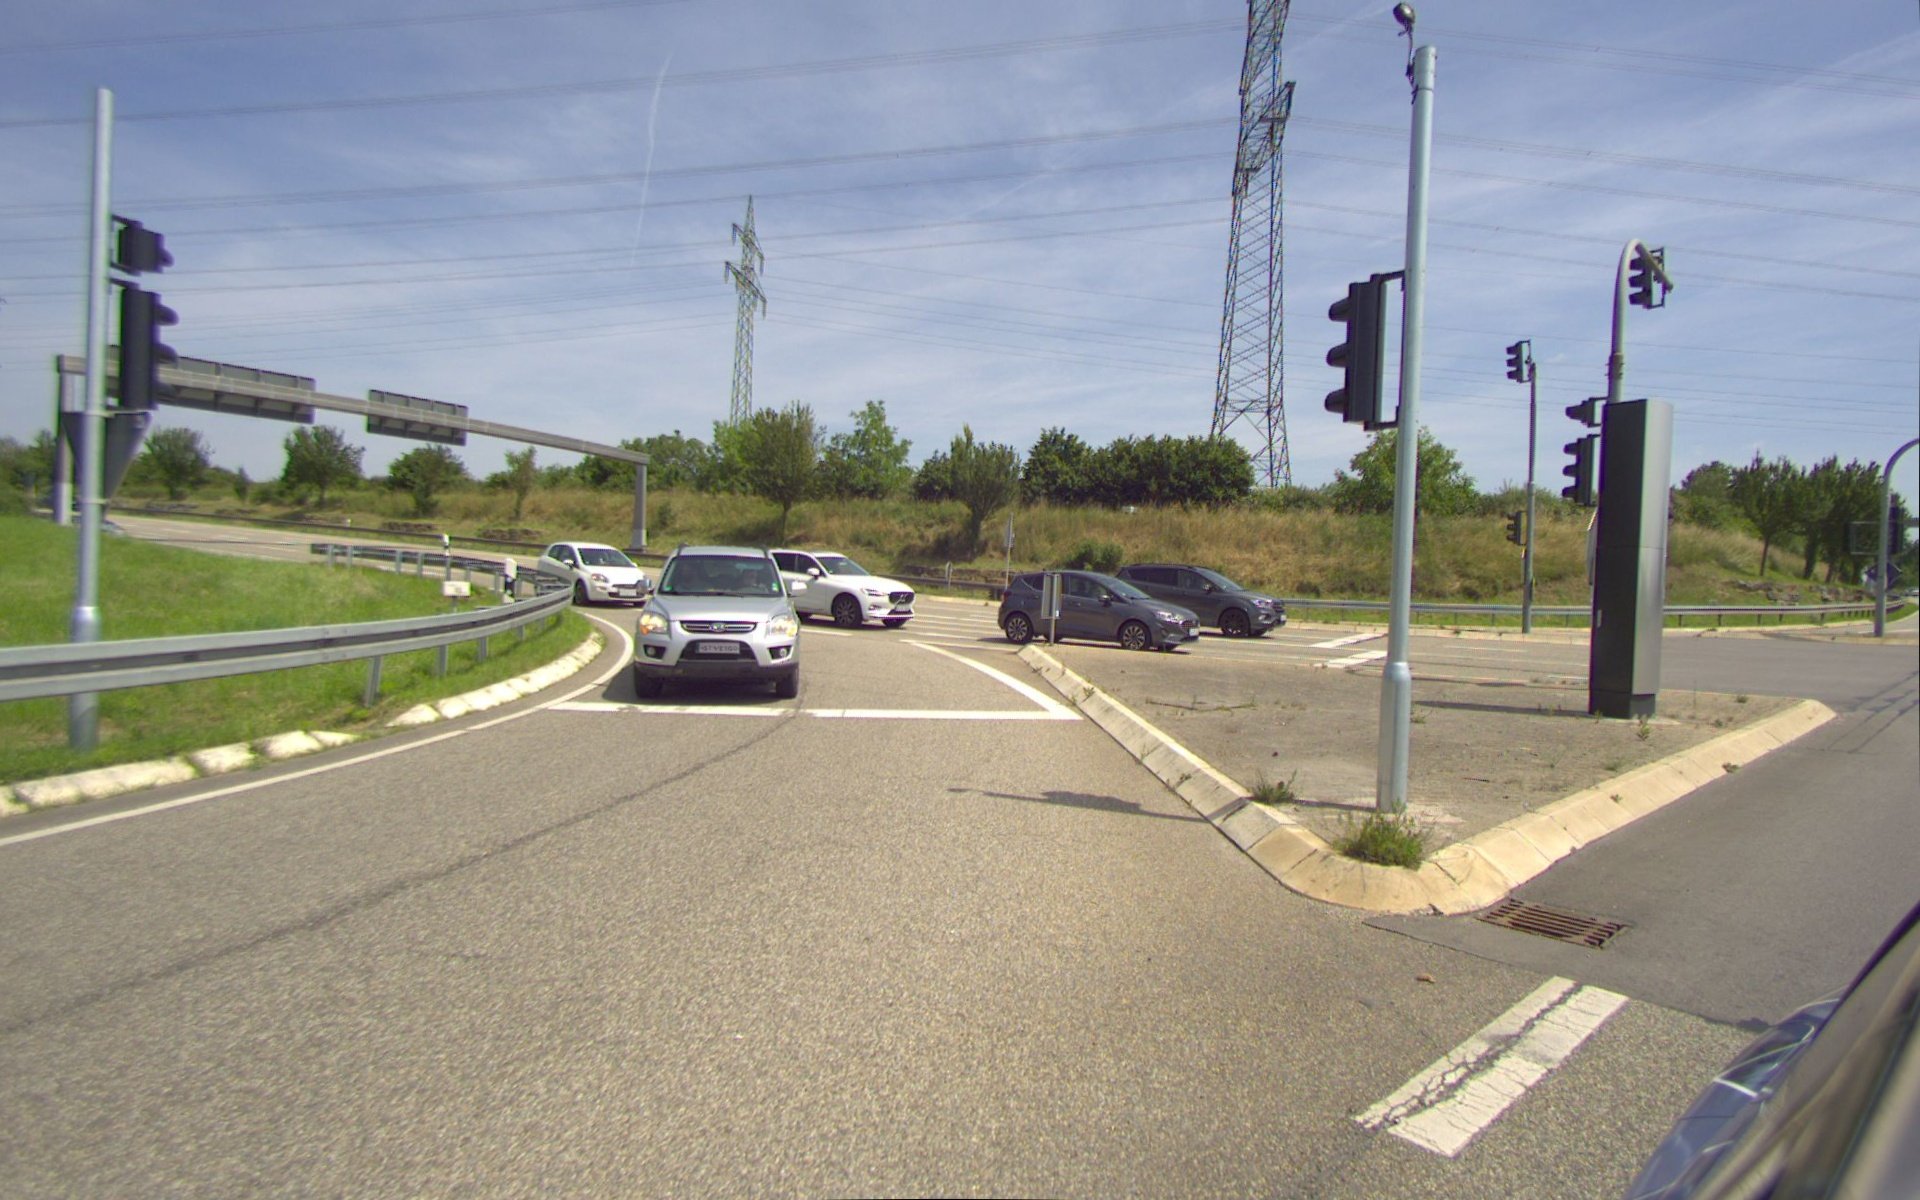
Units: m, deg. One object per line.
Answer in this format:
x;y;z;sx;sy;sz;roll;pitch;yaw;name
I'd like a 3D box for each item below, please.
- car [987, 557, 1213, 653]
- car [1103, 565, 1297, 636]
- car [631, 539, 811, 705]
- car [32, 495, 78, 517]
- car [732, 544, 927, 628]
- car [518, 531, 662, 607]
2.657;0.028;19.557;3.973;1.529;1.696;4;3;33;car
5.872;-0.053;24.984;4.343;1.529;1.695;3;2;34;car
-2.947;0.141;12.554;1.798;1.675;4.382;0;2;-13;car
-78.519;-8.189;87.792;4.264;1.551;1.732;5;0;30;car
-3.047;-0.377;23.228;4.343;1.611;1.759;4;3;34;car
-9.376;-0.823;25.477;3.988;1.618;1.754;7;5;43;car
